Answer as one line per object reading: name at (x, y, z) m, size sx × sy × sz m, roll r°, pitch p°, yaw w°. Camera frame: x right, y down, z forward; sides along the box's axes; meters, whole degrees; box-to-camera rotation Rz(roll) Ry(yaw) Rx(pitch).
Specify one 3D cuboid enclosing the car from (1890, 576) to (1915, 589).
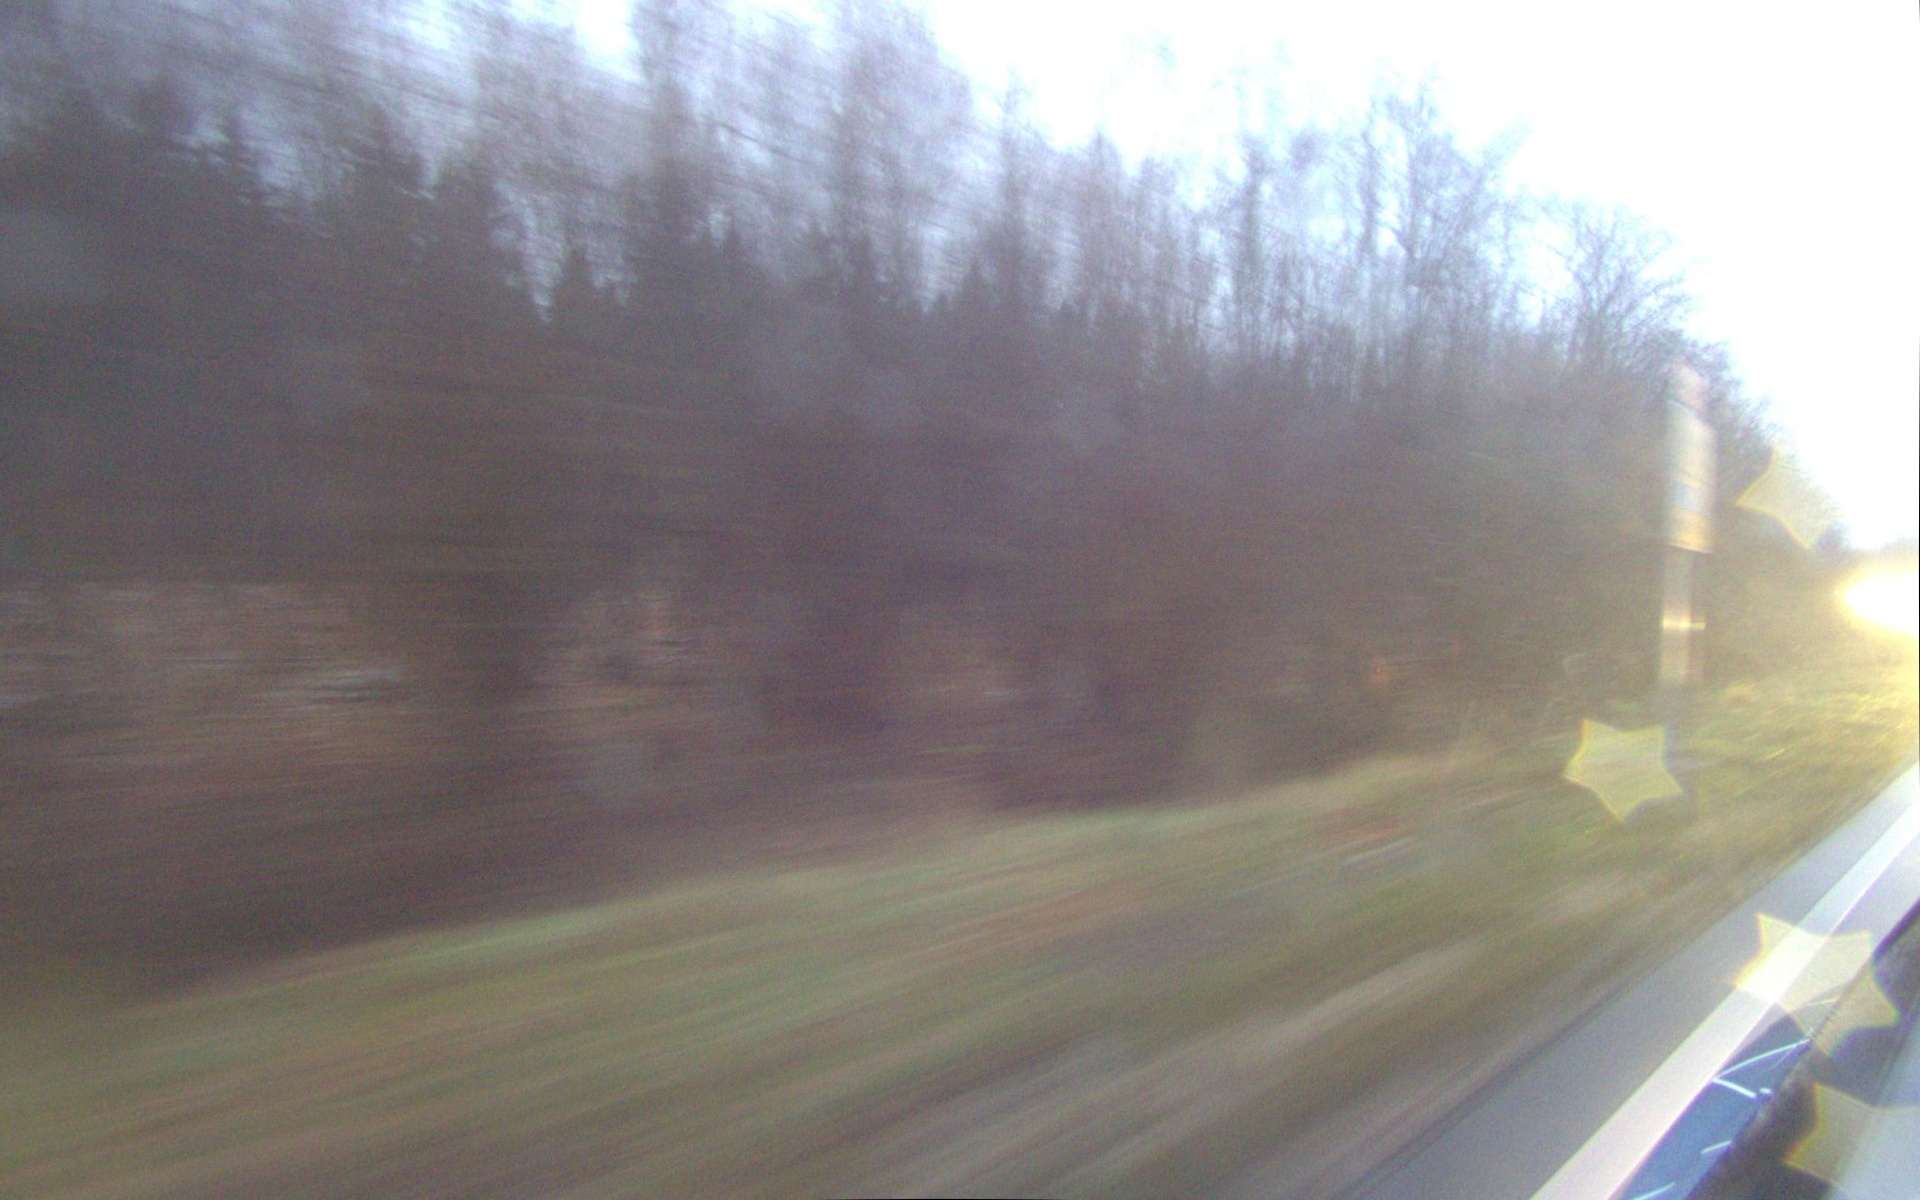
car at (125.211, -2.331, 134.471) m, size 1.989 × 1.669 × 4.660 m, roll 1°, pitch 2°, yaw 37°
